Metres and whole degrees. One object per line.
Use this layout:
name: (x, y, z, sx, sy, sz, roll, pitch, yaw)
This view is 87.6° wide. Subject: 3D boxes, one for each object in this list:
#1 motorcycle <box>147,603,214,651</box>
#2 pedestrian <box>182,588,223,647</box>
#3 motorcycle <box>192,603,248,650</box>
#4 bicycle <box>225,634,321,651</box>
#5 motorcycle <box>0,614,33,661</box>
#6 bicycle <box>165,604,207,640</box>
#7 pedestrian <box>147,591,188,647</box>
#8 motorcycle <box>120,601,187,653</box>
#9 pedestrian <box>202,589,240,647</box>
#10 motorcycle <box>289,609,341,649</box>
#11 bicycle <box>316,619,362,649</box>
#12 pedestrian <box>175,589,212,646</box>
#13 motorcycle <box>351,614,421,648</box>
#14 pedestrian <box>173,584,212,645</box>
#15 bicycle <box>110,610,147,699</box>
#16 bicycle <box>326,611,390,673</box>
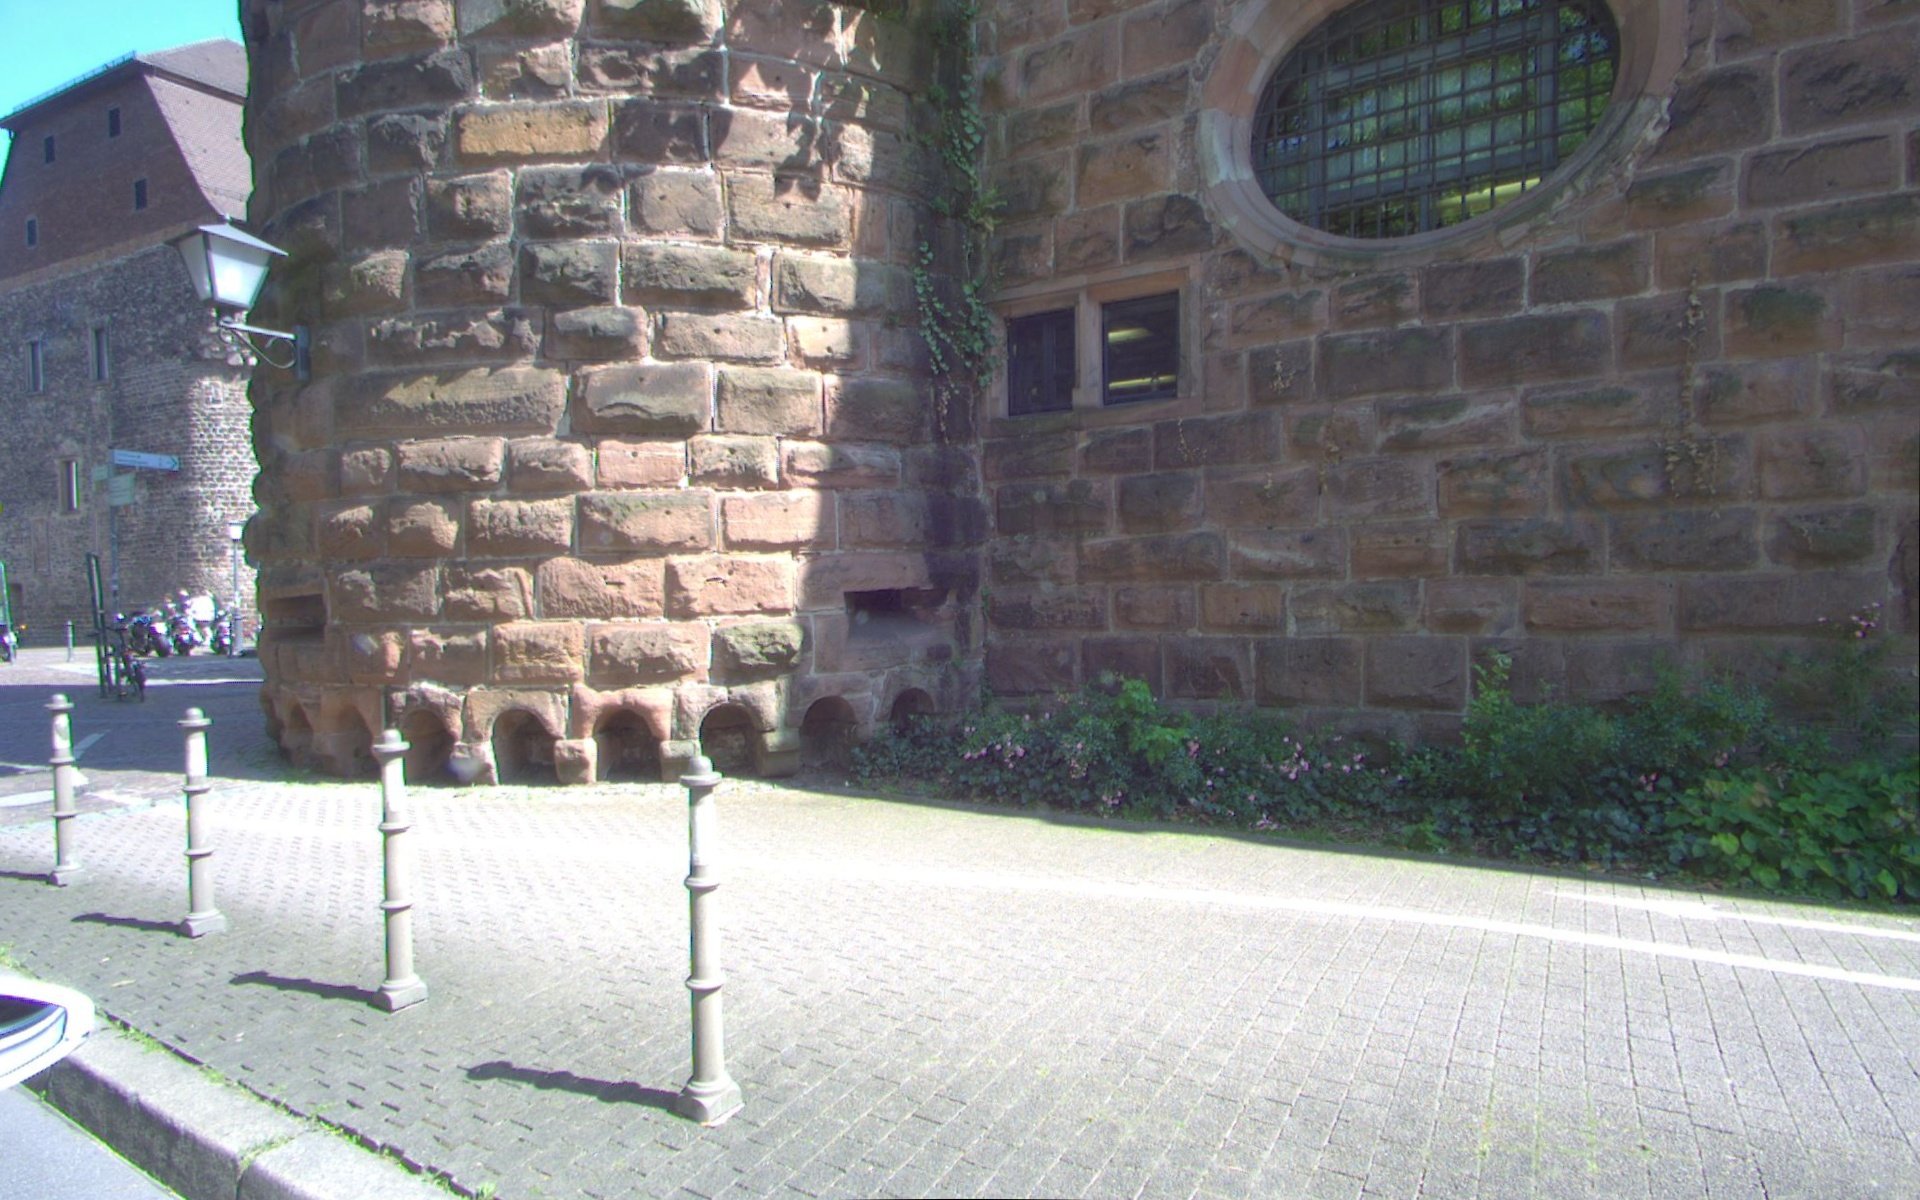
motorcycle: (-20.712, 0.726, 26.589, 2.280, 1.251, 0.674, -1, -2, 32)
pedestrian: (-24.831, 0.585, 32.827, 0.805, 1.908, 0.671, 0, -1, -2)
motorcycle: (-20.215, 0.730, 27.352, 2.002, 1.251, 0.545, -1, -2, 32)
bicycle: (-17.557, 1.083, 25.626, 1.916, 0.386, 0.909, 0, -2, -44)
motorcycle: (-22.178, 0.846, 23.051, 2.453, 1.026, 0.565, 0, 1, 32)
bicycle: (-26.686, 0.765, 34.514, 1.690, 1.225, 0.388, -1, -1, 24)
pedestrian: (-26.236, 0.625, 33.163, 0.830, 1.826, 0.654, 0, 0, 2)
motorcycle: (-20.541, 0.697, 25.481, 2.169, 1.282, 0.654, -1, -1, 32)
pedestrian: (-24.887, 0.603, 33.722, 0.806, 1.944, 0.670, 0, -1, -11)
motorcycle: (-18.114, 0.826, 28.099, 1.814, 1.087, 0.506, -1, -2, 32)
bicycle: (-18.379, 0.996, 29.616, 1.898, 0.831, 0.353, 0, -1, 32)
pedestrian: (-23.178, 0.531, 30.285, 0.799, 1.684, 0.652, -1, 1, -34)
motorcycle: (-18.047, 0.976, 31.499, 0.474, 1.067, 1.858, -1, -2, 40)
pedestrian: (-26.062, 0.505, 34.001, 0.863, 2.039, 0.730, -1, -1, 24)
bicycle: (-12.008, 0.757, 14.449, 1.750, 1.220, 0.192, 0, 1, 44)
bicycle: (-11.965, 0.806, 19.893, 1.707, 1.178, 0.445, 0, 1, 36)
